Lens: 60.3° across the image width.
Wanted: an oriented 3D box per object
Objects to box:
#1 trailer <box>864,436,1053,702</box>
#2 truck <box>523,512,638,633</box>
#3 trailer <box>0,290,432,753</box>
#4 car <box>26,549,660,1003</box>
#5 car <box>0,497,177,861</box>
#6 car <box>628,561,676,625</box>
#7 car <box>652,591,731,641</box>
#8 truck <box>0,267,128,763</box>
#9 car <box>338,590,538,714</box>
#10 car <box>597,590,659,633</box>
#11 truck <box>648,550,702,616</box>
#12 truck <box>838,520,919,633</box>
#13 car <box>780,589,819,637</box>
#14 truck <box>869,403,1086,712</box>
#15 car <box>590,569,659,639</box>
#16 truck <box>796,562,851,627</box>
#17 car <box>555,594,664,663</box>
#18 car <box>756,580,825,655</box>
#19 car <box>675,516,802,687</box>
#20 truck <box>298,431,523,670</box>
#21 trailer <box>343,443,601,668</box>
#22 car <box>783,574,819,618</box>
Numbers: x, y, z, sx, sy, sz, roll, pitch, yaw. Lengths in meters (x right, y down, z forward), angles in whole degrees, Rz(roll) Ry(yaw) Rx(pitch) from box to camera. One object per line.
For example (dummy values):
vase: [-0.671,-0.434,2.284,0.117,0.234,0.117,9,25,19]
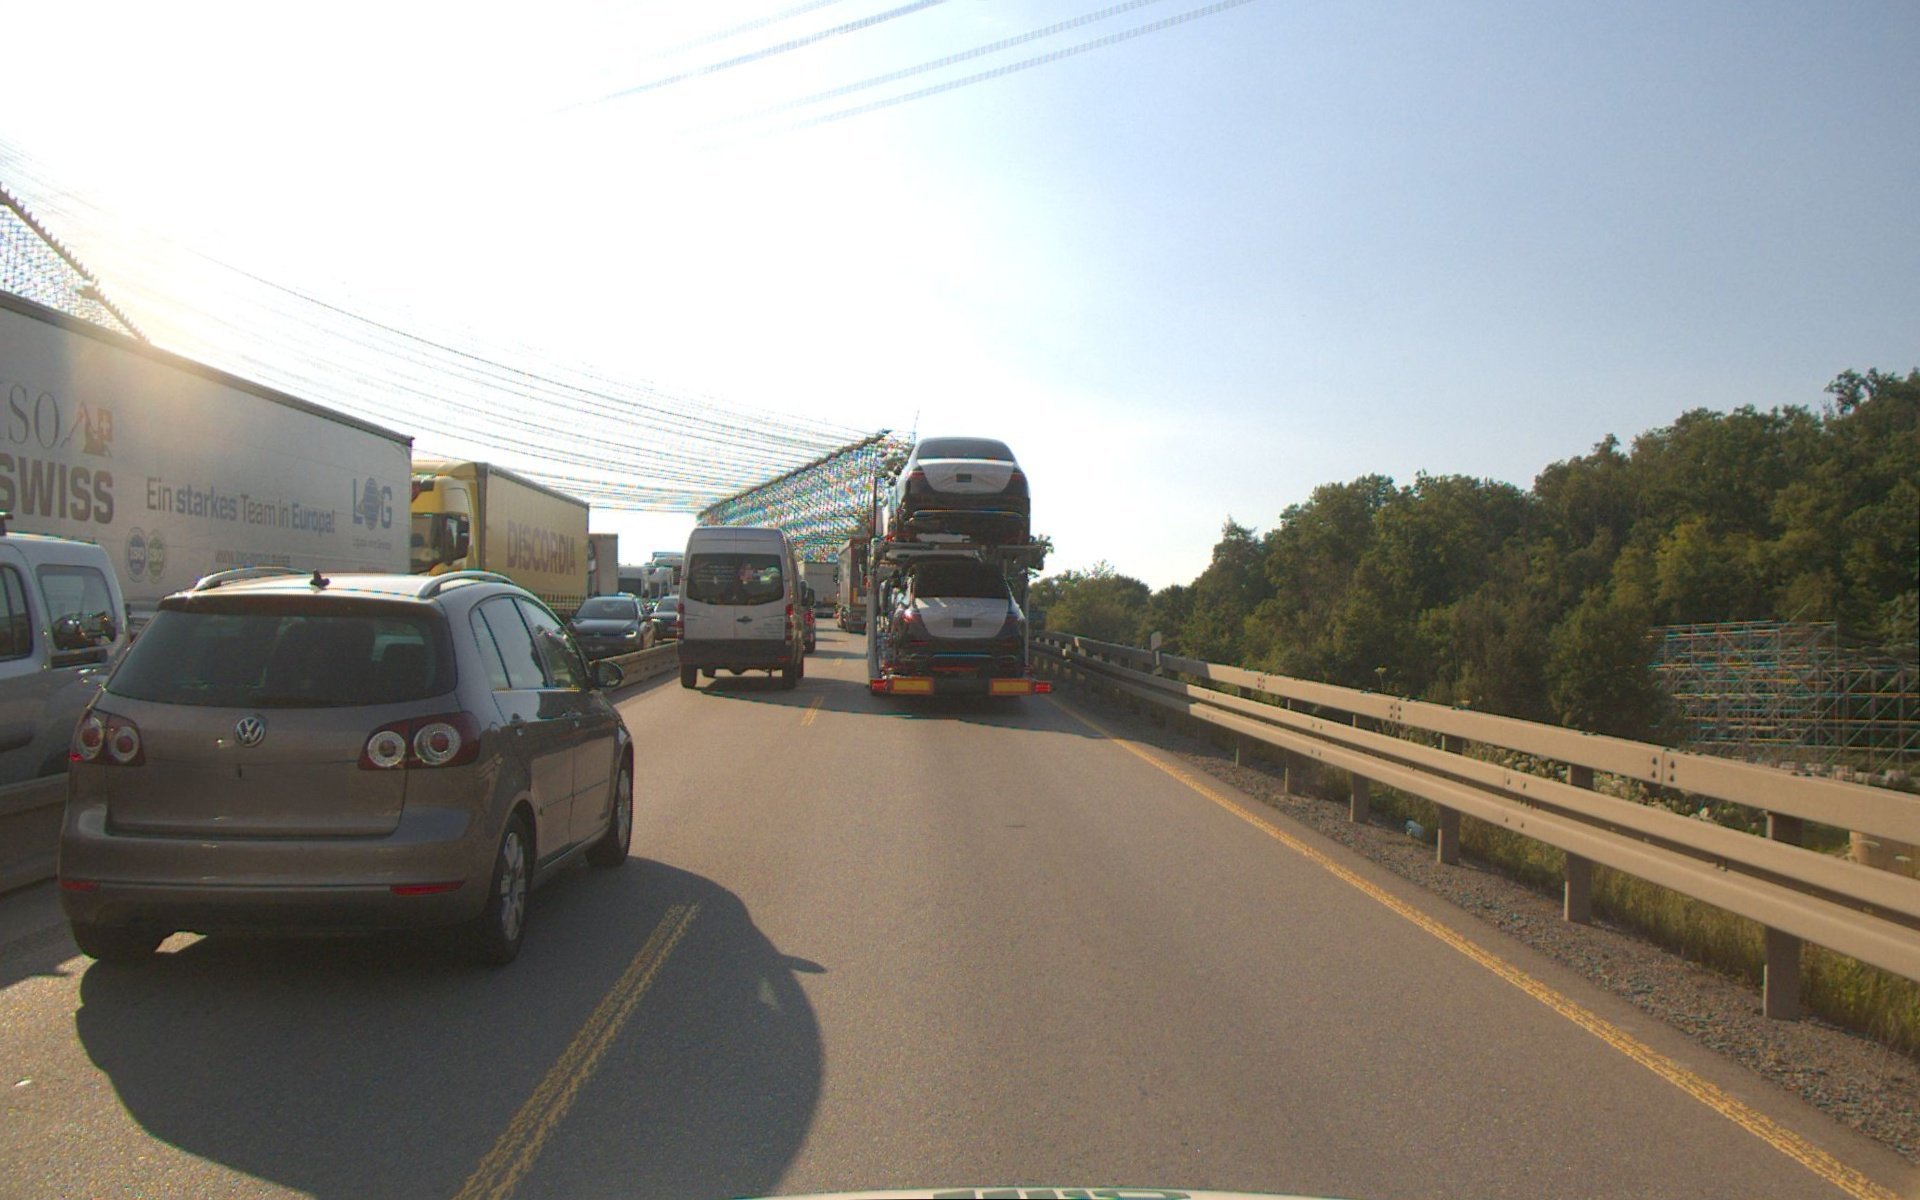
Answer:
trailer: [-0.450,-0.288,32.960,2.818,4.064,15.266,0,-1,-4]
truck: [-12.145,-0.755,53.536,2.311,3.593,7.692,0,-1,-3]
trailer: [-9.846,-0.600,21.511,2.404,4.341,12.139,0,-1,-2]
car: [-2.584,0.677,8.023,1.667,1.615,4.144,0,-1,-3]
car: [-6.030,0.416,8.580,1.796,1.950,4.862,1,0,-3]
car: [-14.122,-0.327,75.976,1.635,2.813,4.955,1,0,-5]
car: [-8.717,0.544,54.070,1.953,1.557,4.723,0,-1,-2]
truck: [-9.595,-0.767,13.613,2.394,4.347,6.318,0,-1,-2]
car: [-6.986,0.639,22.507,1.637,1.533,3.845,1,0,-3]
car: [-12.295,0.454,61.371,1.773,1.557,4.043,0,-1,-5]
truck: [-18.397,-1.053,107.182,2.589,4.065,9.020,1,0,-5]
truck: [-3.867,-0.997,75.784,3.165,4.759,11.682,1,0,-5]
car: [-6.923,0.602,71.605,1.635,2.019,3.814,0,-1,-5]
truck: [0.077,-0.489,24.664,2.813,4.050,5.766,0,-1,-4]
car: [-13.826,0.227,68.378,2.086,2.798,5.499,0,-1,-4]
truck: [-10.495,-0.418,125.993,3.580,4.759,11.674,1,0,-8]
car: [-7.948,0.667,37.870,1.719,1.475,4.531,0,-1,-3]
car: [-4.767,0.524,46.888,1.634,2.019,3.816,0,-1,-1]
car: [-3.745,0.071,28.567,1.940,2.732,4.142,0,-1,-5]
truck: [-10.765,-0.836,33.025,2.836,4.347,5.766,0,-1,-4]
trailer: [-11.264,-0.717,40.125,2.836,4.471,14.367,0,-1,-4]
car: [-7.698,-0.166,80.314,1.635,2.019,3.814,0,-1,-5]
